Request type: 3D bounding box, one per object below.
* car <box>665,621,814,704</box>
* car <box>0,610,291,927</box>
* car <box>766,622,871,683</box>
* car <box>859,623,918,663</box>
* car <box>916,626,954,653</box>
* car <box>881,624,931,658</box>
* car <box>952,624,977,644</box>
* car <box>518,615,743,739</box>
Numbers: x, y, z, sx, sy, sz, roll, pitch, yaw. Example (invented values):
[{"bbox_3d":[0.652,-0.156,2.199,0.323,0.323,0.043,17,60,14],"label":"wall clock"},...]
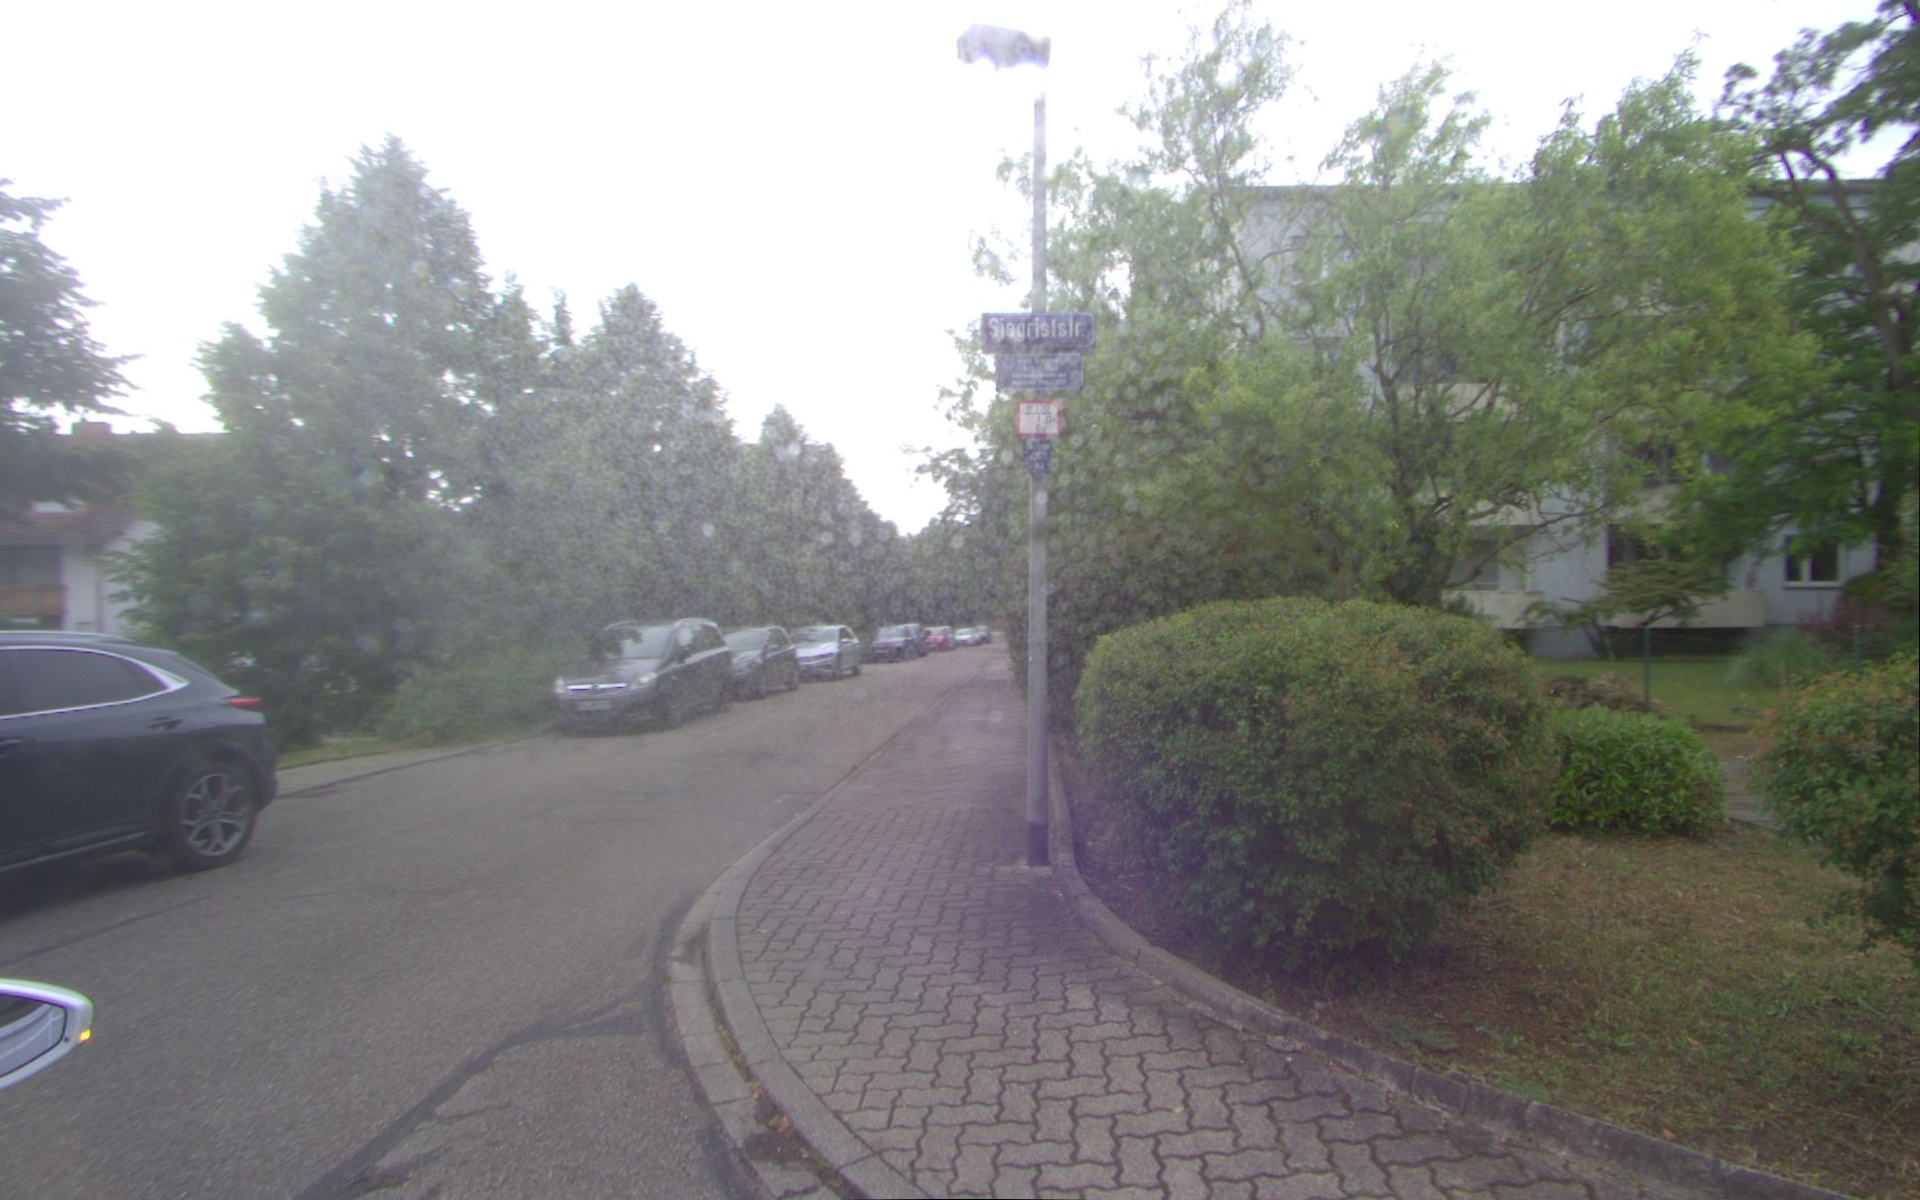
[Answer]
[{"bbox_3d":[-4.524,1.241,21.199,1.729,1.497,4.305,-3,-1,6],"label":"car"},{"bbox_3d":[-5.593,0.853,4.748,1.714,1.550,4.195,-2,-1,6],"label":"car"},{"bbox_3d":[-3.753,1.378,27.376,1.748,1.446,4.478,-2,-1,6],"label":"car"},{"bbox_3d":[-2.855,1.716,40.776,1.723,1.443,4.000,-2,-1,5],"label":"car"},{"bbox_3d":[-1.456,2.297,59.320,1.723,1.443,4.000,-2,-1,5],"label":"car"},{"bbox_3d":[-2.500,1.916,47.308,1.723,1.443,4.000,-2,-1,5],"label":"car"},{"bbox_3d":[0.416,2.733,81.658,1.723,1.539,4.000,0,-1,5],"label":"car"},{"bbox_3d":[-4.948,1.088,15.789,1.729,1.614,4.553,-2,-1,4],"label":"car"}]
